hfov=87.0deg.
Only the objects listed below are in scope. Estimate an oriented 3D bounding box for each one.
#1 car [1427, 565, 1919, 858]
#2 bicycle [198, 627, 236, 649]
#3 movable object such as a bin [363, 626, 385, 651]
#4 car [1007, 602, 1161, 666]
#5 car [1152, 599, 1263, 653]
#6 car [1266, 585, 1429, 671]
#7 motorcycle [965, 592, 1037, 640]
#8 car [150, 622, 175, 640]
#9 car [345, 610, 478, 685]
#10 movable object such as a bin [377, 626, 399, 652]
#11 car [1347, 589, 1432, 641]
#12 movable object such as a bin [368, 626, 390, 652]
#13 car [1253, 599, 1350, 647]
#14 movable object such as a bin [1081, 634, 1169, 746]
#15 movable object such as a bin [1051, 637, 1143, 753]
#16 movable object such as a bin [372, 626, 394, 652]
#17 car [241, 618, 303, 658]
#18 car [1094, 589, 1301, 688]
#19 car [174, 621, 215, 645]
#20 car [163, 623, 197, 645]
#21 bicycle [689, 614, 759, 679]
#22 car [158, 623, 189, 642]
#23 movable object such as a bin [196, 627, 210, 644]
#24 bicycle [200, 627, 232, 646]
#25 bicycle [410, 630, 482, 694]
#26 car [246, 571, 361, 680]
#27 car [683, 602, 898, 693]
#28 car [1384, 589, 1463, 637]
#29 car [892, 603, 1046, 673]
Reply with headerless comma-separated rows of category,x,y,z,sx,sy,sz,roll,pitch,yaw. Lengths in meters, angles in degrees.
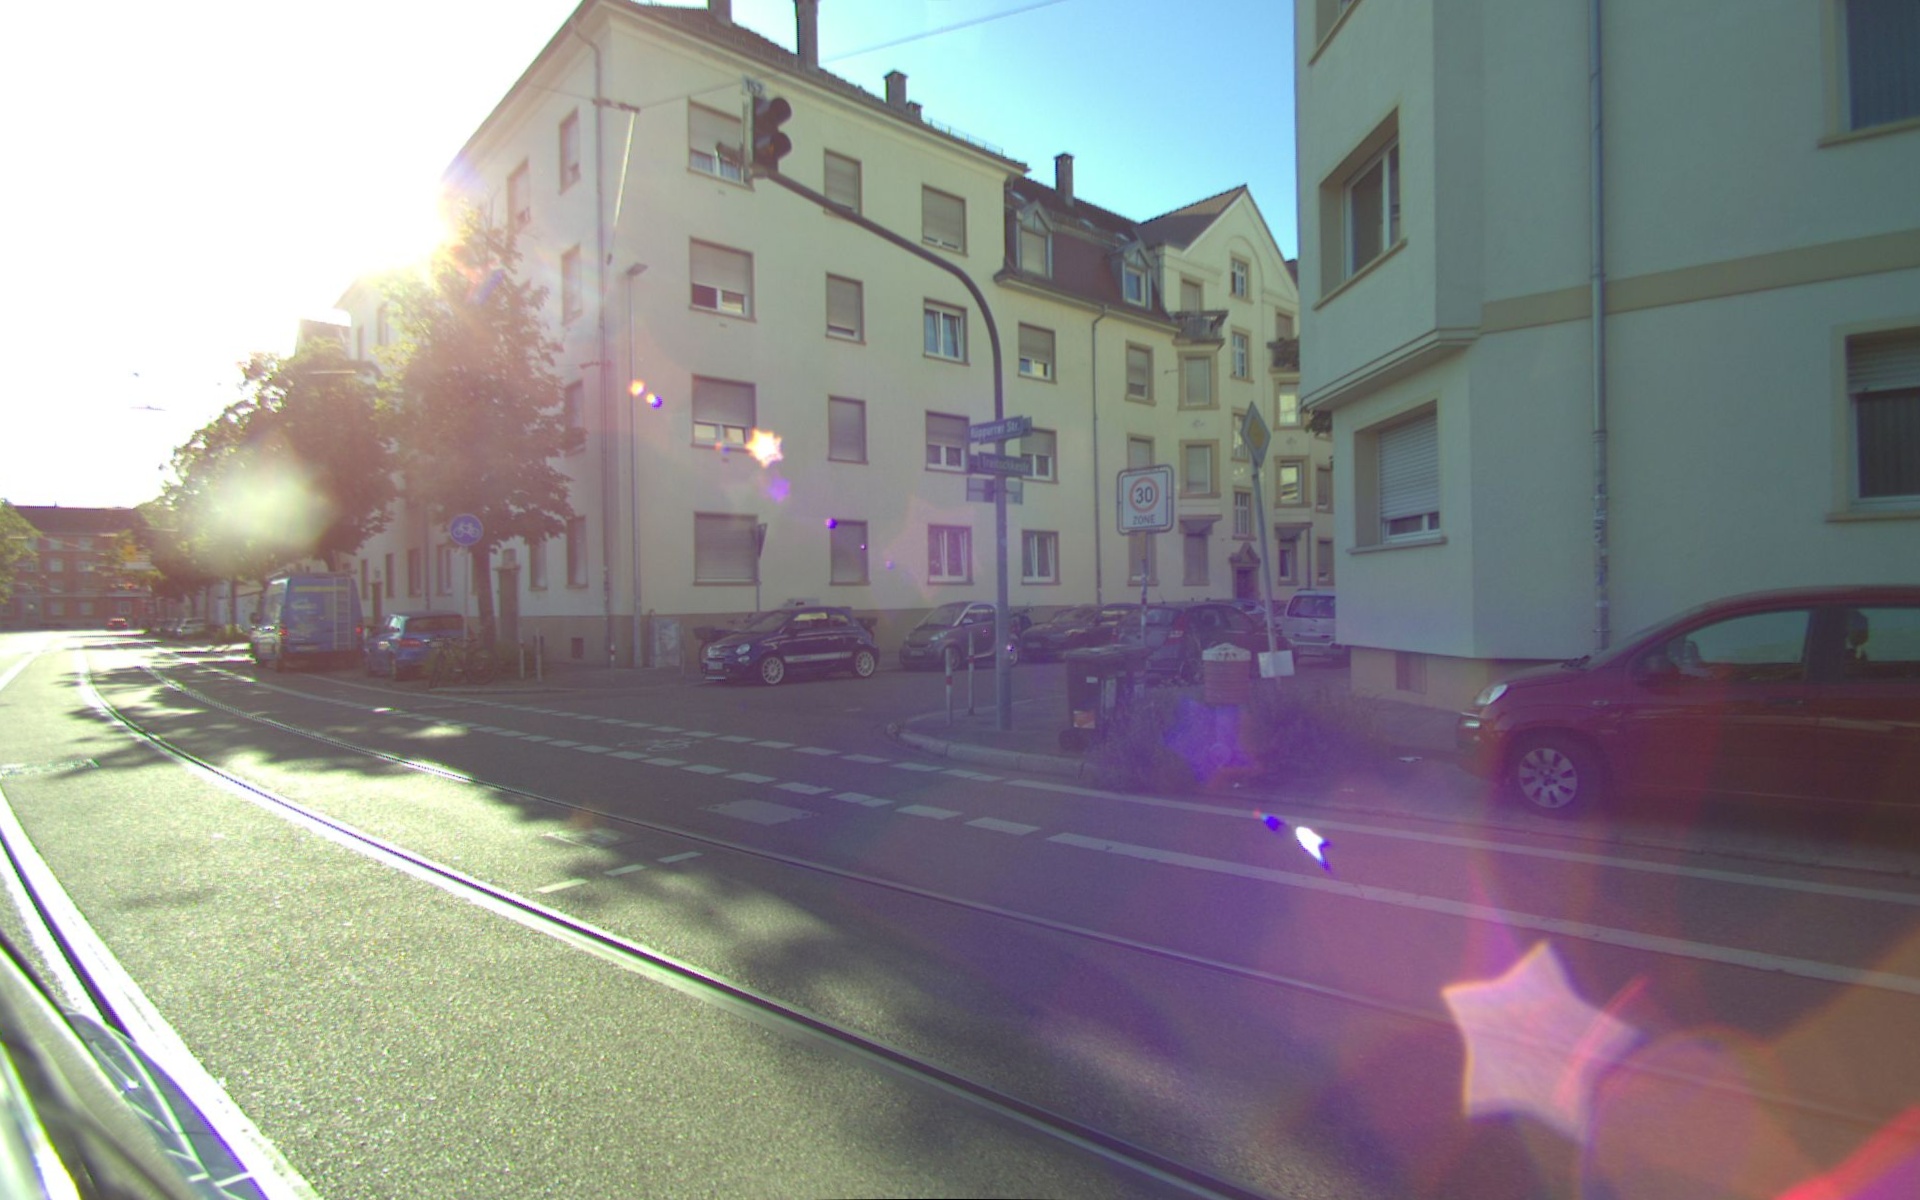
car,5.351,0.592,6.415,3.999,1.541,1.671,-1,2,42
bicycle,-40.998,2.086,55.878,0.525,1.047,1.985,-2,1,3
movable object such as a bin,-22.241,1.461,38.392,0.589,0.941,0.569,0,-1,-44
car,3.239,0.821,25.956,4.119,1.469,1.711,-1,0,-44
car,7.379,0.748,30.047,3.467,1.469,1.580,-1,-2,-44
car,8.799,0.572,22.828,3.940,1.665,1.909,-3,1,-44
motorcycle,1.191,0.438,28.905,0.625,1.317,2.518,1,0,40
car,-72.609,2.792,92.121,1.553,1.516,4.006,-2,1,-41
car,-13.280,1.076,24.372,1.769,1.572,4.648,-2,1,-42
movable object such as a bin,-20.978,1.435,37.100,0.589,0.941,0.569,0,-1,-44
car,16.148,0.534,38.002,3.467,1.848,1.742,-1,0,-44
movable object such as a bin,-21.818,1.452,37.974,0.589,0.941,0.569,0,-1,-44
car,11.271,0.747,33.281,3.467,1.469,1.580,-1,-2,-44
movable object such as a bin,1.580,0.839,9.693,0.659,0.995,0.480,-1,1,41
movable object such as a bin,1.257,0.850,9.293,0.659,0.995,0.480,-1,1,41
movable object such as a bin,-21.402,1.444,37.528,0.589,0.941,0.569,0,-1,-44
car,-28.393,1.516,41.737,1.631,1.502,4.006,-2,1,-41
car,4.503,0.643,18.884,3.940,1.541,1.909,-3,1,-44
car,-53.260,2.288,70.370,1.842,1.501,4.667,-2,1,-42
car,-58.729,2.504,76.167,1.751,1.497,4.311,-2,1,-41
bicycle,-4.945,0.954,21.252,0.397,1.238,1.486,2,3,40
car,-68.344,2.812,87.965,1.850,1.439,4.299,-2,1,-41
movable object such as a bin,-48.729,2.287,65.146,0.575,0.966,0.703,-8,4,-41
bicycle,-43.320,2.116,58.943,0.659,1.047,1.788,-2,1,-4
bicycle,-9.855,1.157,19.374,2.030,1.143,0.507,-1,1,42
car,-19.291,0.697,29.599,1.992,2.847,6.041,-2,1,-40
car,-3.260,0.861,19.956,1.769,1.469,3.842,-1,1,45
car,18.684,0.497,40.722,3.467,1.848,1.742,-1,0,-44
car,0.263,0.831,23.359,1.579,1.469,3.468,-1,-1,44
